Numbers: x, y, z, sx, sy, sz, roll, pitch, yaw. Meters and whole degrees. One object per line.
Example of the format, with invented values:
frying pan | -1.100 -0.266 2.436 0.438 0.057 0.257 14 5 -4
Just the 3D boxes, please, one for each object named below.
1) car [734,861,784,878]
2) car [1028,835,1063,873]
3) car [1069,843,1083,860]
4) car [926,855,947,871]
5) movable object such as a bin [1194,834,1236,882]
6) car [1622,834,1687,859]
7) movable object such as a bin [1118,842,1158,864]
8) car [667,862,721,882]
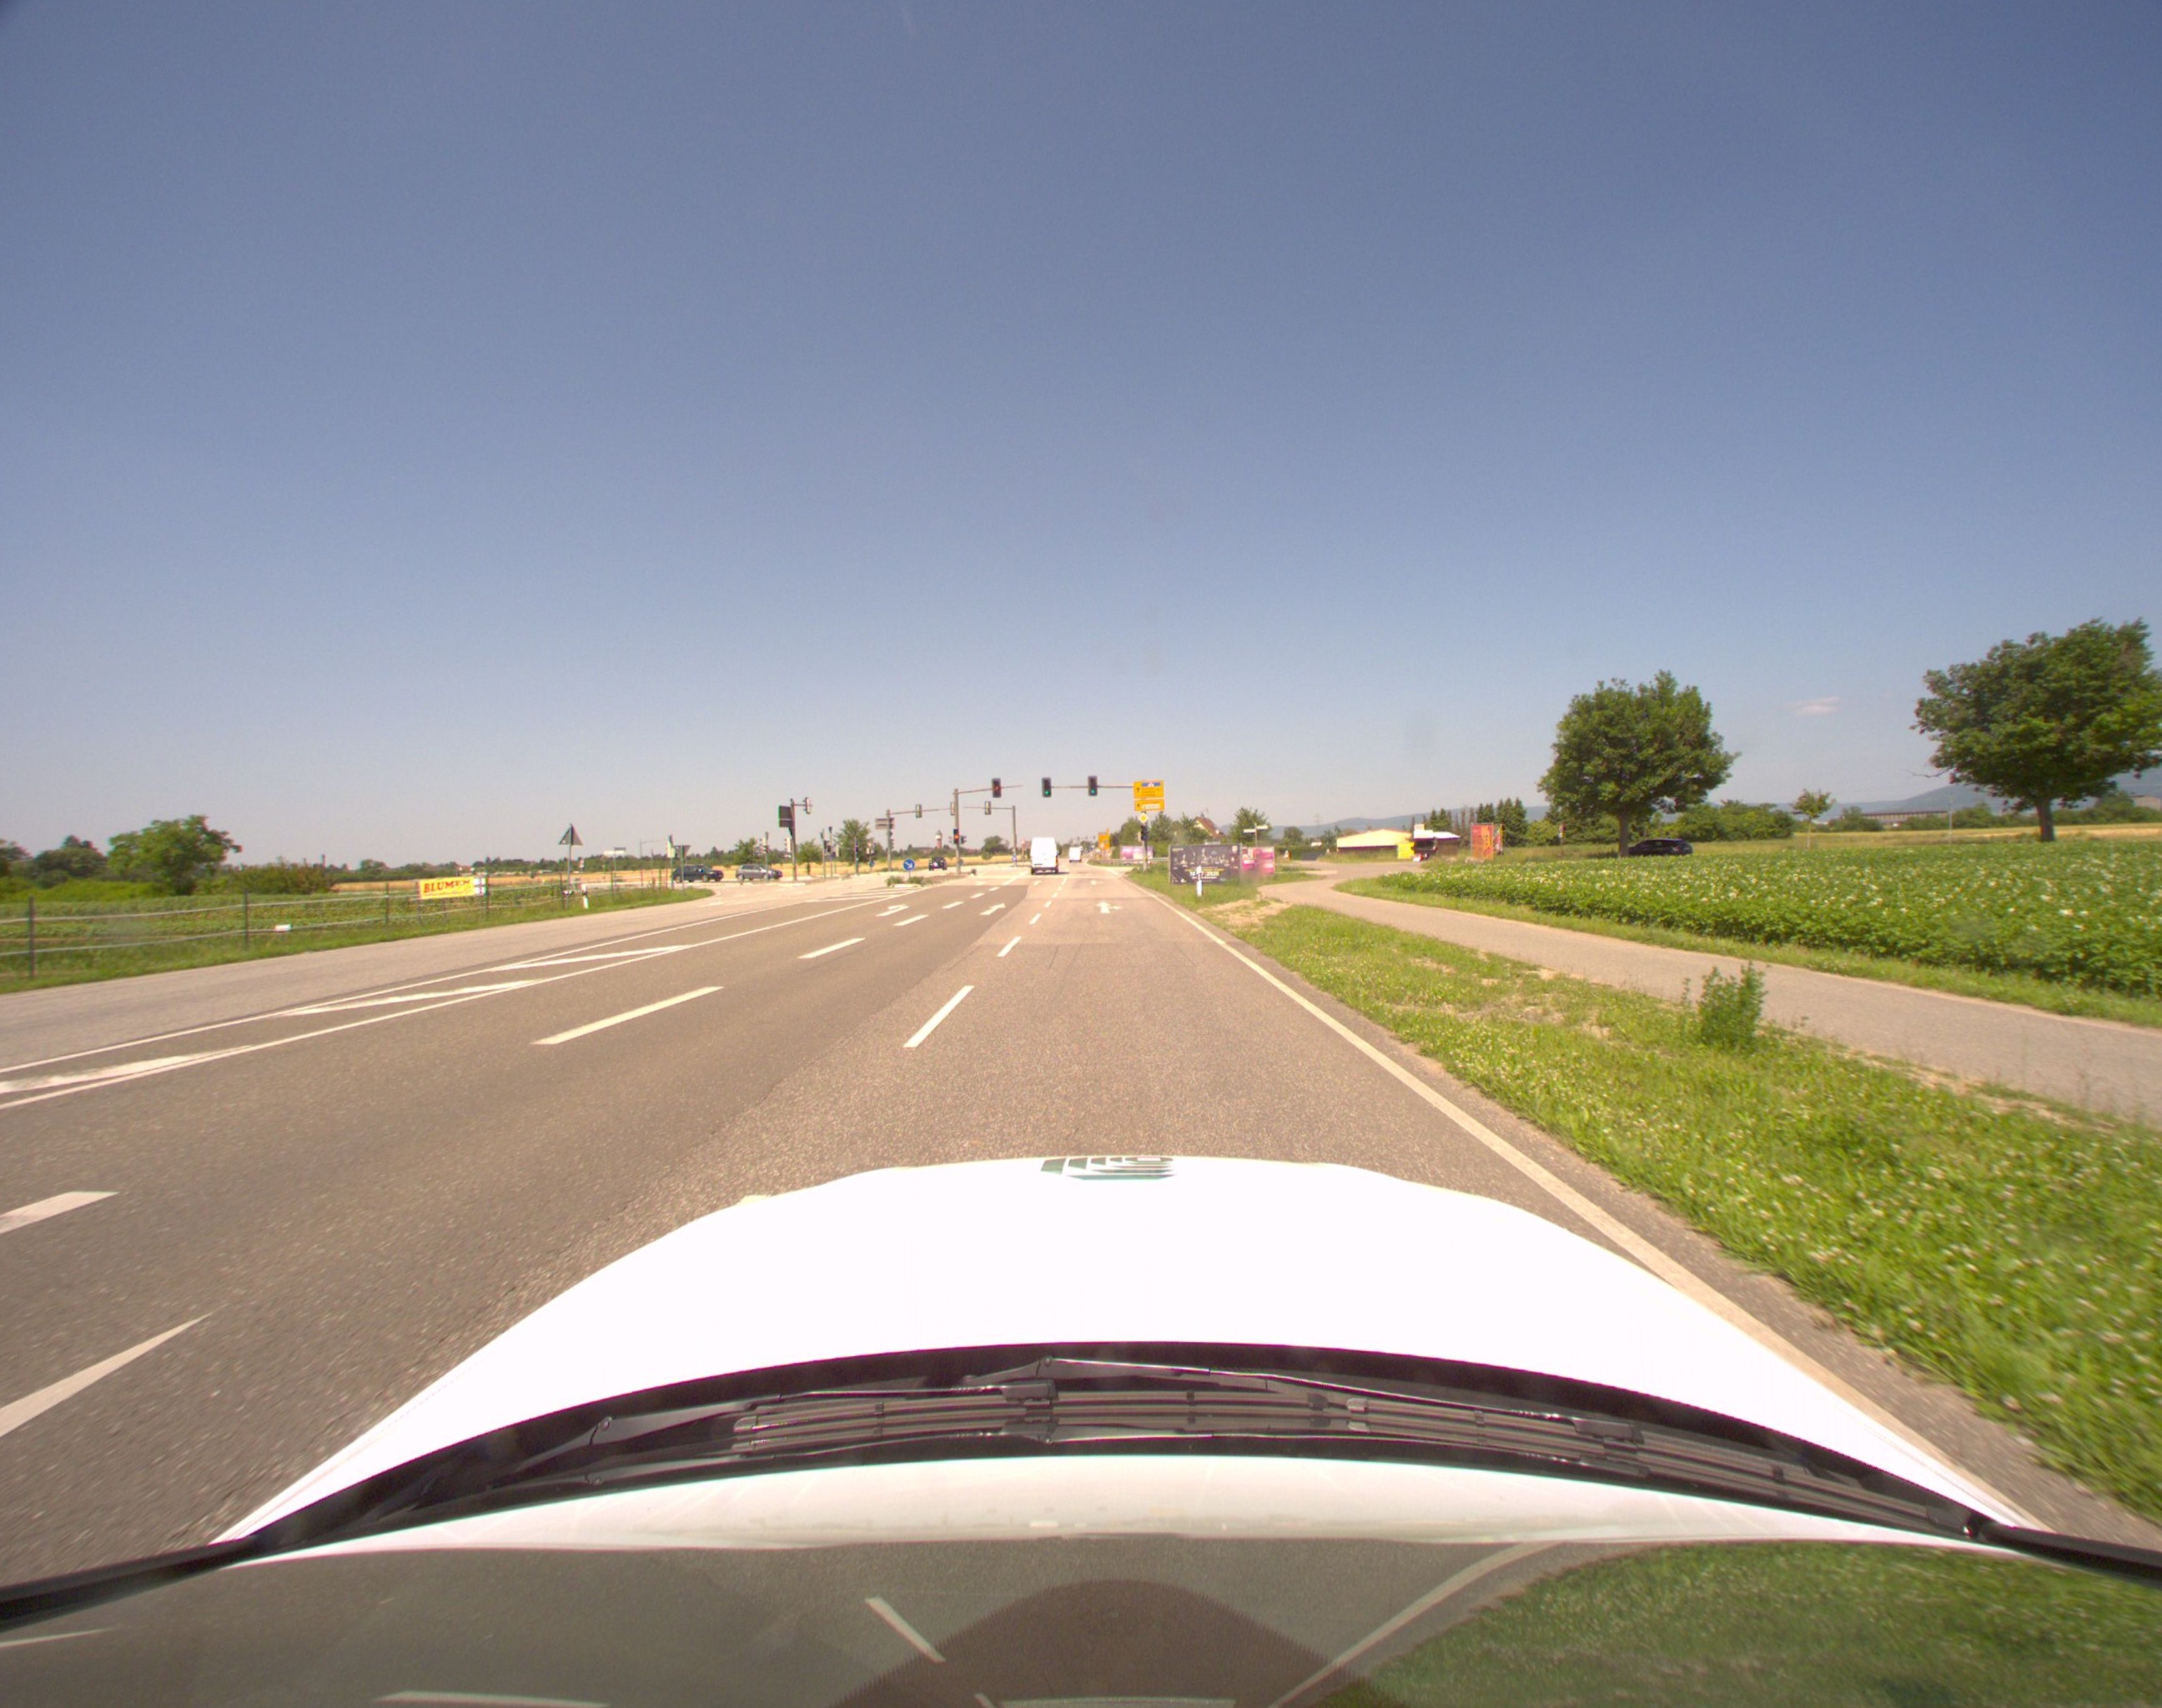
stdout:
car | -28.683 1.384 72.564 3.841 1.387 1.641 -1 1 13
car | -2.585 -0.015 60.263 2.031 2.620 5.745 -1 0 3
car | -0.875 -0.380 137.744 1.985 2.695 4.973 0 -1 3
car | -16.166 1.022 91.475 1.827 1.600 4.299 -2 0 -4
movable object such as a bin | 7.032 0.217 42.416 1.509 2.363 4.445 0 0 18
car | 37.421 -0.475 53.262 1.748 1.527 3.888 -2 0 5
movable object such as a bin | 6.029 -0.068 86.685 4.087 2.331 1.275 0 -1 -5
car | -34.961 1.627 73.630 4.323 1.594 1.642 -3 0 15
